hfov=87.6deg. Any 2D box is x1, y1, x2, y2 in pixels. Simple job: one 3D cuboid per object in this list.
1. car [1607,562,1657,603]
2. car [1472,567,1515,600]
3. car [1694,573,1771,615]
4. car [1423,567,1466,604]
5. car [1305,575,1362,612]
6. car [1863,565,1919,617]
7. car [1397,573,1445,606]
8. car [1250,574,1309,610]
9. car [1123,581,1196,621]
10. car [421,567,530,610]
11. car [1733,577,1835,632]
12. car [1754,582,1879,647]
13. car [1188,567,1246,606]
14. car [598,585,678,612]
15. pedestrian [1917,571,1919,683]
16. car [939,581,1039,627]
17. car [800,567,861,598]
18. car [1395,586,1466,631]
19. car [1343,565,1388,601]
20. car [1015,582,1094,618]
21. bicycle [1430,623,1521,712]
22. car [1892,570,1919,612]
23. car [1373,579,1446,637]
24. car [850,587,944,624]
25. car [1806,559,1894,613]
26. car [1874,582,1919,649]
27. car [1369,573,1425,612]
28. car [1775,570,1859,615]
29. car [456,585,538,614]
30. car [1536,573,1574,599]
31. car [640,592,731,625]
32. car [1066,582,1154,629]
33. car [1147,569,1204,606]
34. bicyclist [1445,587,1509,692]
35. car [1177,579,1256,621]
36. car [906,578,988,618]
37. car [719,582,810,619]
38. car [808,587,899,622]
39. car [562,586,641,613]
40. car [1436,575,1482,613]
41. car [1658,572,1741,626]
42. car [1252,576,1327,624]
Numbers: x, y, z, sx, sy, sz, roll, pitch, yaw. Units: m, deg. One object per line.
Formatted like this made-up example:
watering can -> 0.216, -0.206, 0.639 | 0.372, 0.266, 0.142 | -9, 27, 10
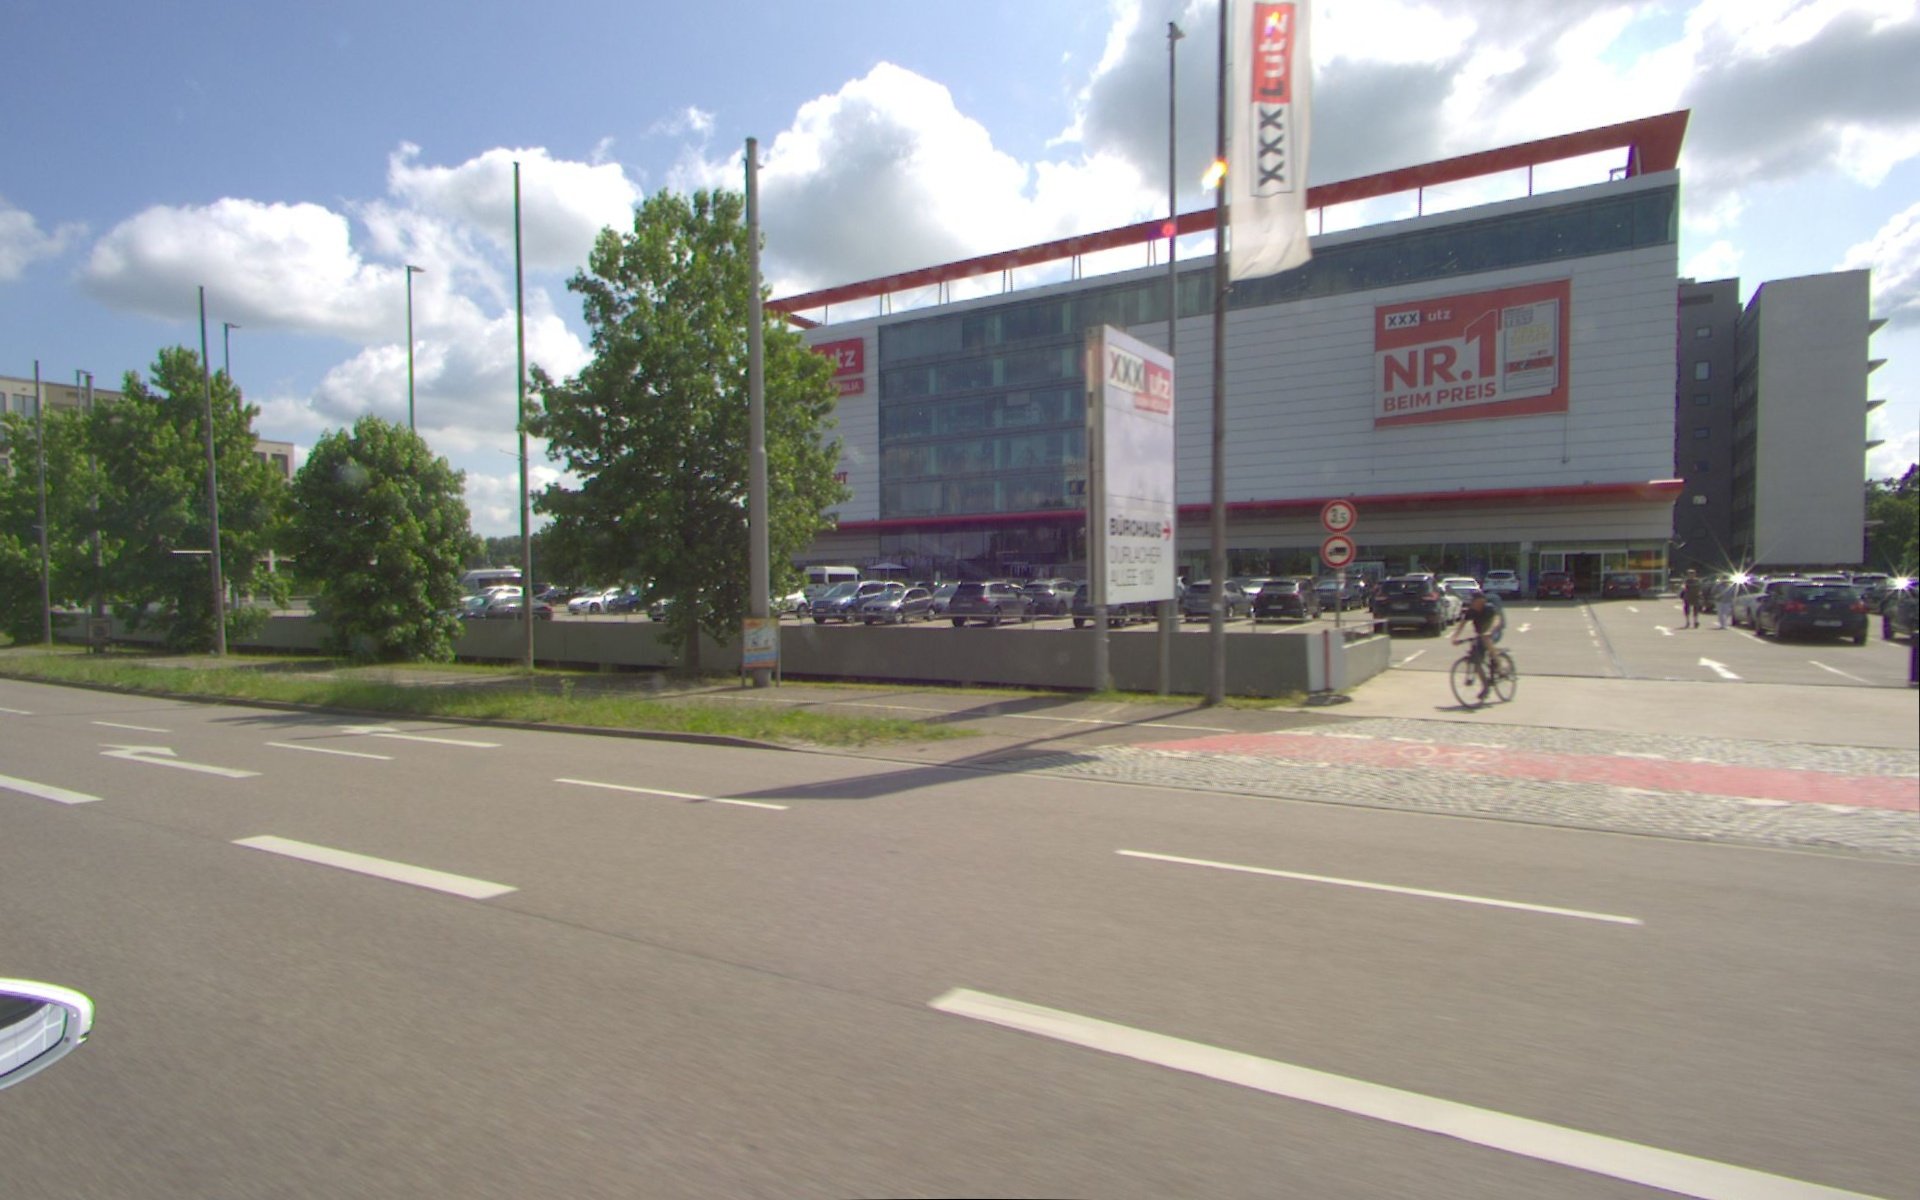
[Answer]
car -> 35.346, -0.866, 52.730 | 1.971, 2.040, 3.980 | 1, 0, 31
car -> 30.216, -0.907, 56.649 | 1.970, 1.746, 3.981 | 0, 0, 30
car -> 29.934, -0.263, 38.913 | 1.971, 1.529, 3.977 | 0, 2, 32
car -> 28.105, -0.812, 58.011 | 1.970, 2.040, 3.981 | 0, 0, 30
car -> 17.300, -0.336, 46.259 | 1.825, 1.609, 4.217 | 0, 2, 30
car -> 33.743, -0.334, 35.511 | 1.973, 1.762, 3.976 | -1, 0, 34
car -> 23.038, -0.497, 49.969 | 1.681, 1.531, 4.332 | 0, 0, 31
car -> 16.742, -0.431, 52.355 | 1.971, 1.773, 3.977 | 0, 1, 32
car -> 8.136, 0.000, 40.646 | 1.702, 1.484, 3.979 | 0, 2, 30
car -> -28.645, -0.656, 59.376 | 2.031, 2.397, 5.651 | -1, 0, 30
car -> 24.474, 0.138, 29.880 | 1.799, 1.528, 4.141 | 0, 0, 32
car -> 21.688, 0.298, 25.522 | 1.820, 1.381, 4.346 | 1, 3, 33
car -> 14.118, -0.723, 54.906 | 1.971, 2.040, 3.980 | 1, 0, 31
car -> -18.382, -0.114, 57.315 | 1.865, 1.454, 4.174 | 0, 2, 31
pedestrian -> 15.704, 0.428, 15.682 | 0.859, 1.806, 0.780 | 1, 1, 32
car -> 1.172, 0.104, 38.376 | 2.000, 1.596, 4.350 | 0, 2, 30
car -> -8.680, -1.136, 67.334 | 1.971, 1.977, 3.979 | 1, 0, 32
car -> 16.480, 0.249, 34.997 | 1.733, 1.447, 4.280 | 2, 2, 32
car -> 24.507, -0.984, 60.465 | 1.970, 2.040, 3.981 | 0, 0, 30
car -> 4.117, 0.013, 43.068 | 1.734, 1.483, 4.233 | 0, 0, 30
bicycle -> 7.270, 0.910, 14.079 | 0.618, 1.082, 1.949 | 1, 2, 44
car -> 37.949, -0.323, 38.708 | 1.971, 1.609, 4.216 | 0, 0, 32
car -> 13.489, 0.192, 29.917 | 1.715, 1.552, 4.048 | -1, 2, 28
car -> -2.509, 0.192, 41.210 | 1.738, 1.343, 4.350 | 0, 2, 30
car -> 35.529, -0.530, 40.076 | 1.971, 2.040, 3.979 | 1, 0, 32
car -> 23.753, 0.327, 24.288 | 1.604, 1.462, 4.346 | 1, 2, 33
car -> 19.474, -0.357, 44.509 | 1.825, 1.609, 4.217 | 0, 2, 30
car -> 31.931, -0.266, 37.413 | 1.825, 1.572, 4.039 | -1, 0, 33
car -> -26.481, -0.019, 57.398 | 1.721, 1.534, 3.981 | -1, 0, 30
car -> 32.744, -0.739, 55.097 | 1.694, 1.361, 3.855 | 0, 0, 31
car -> -13.108, 0.373, 48.031 | 1.864, 1.408, 4.177 | 0, 2, 29
car -> 5.513, 0.152, 36.362 | 1.738, 1.574, 4.174 | 0, 2, 30
car -> 12.286, -0.692, 56.920 | 1.971, 2.040, 3.980 | 1, 0, 31
bicyclist -> 7.247, 0.531, 14.041 | 0.611, 1.432, 0.708 | 1, 2, 44
car -> 10.014, 0.025, 38.896 | 1.863, 1.519, 4.352 | -1, 0, 30
car -> -0.543, -0.083, 45.664 | 1.970, 1.773, 3.981 | 0, 0, 30
car -> -8.854, 0.053, 45.689 | 1.970, 1.591, 3.982 | -1, -1, 29
car -> -4.509, 0.156, 42.784 | 1.663, 1.343, 4.174 | 0, 2, 31
car -> -20.765, -0.078, 58.111 | 1.701, 1.454, 4.174 | 0, 2, 31
car -> 21.497, -0.280, 43.054 | 1.679, 1.532, 4.148 | 0, 2, 28
car -> 23.572, -0.063, 32.036 | 1.670, 1.609, 4.008 | 1, 1, 30
car -> 12.321, -0.044, 37.325 | 1.787, 1.643, 4.350 | 1, 2, 30
